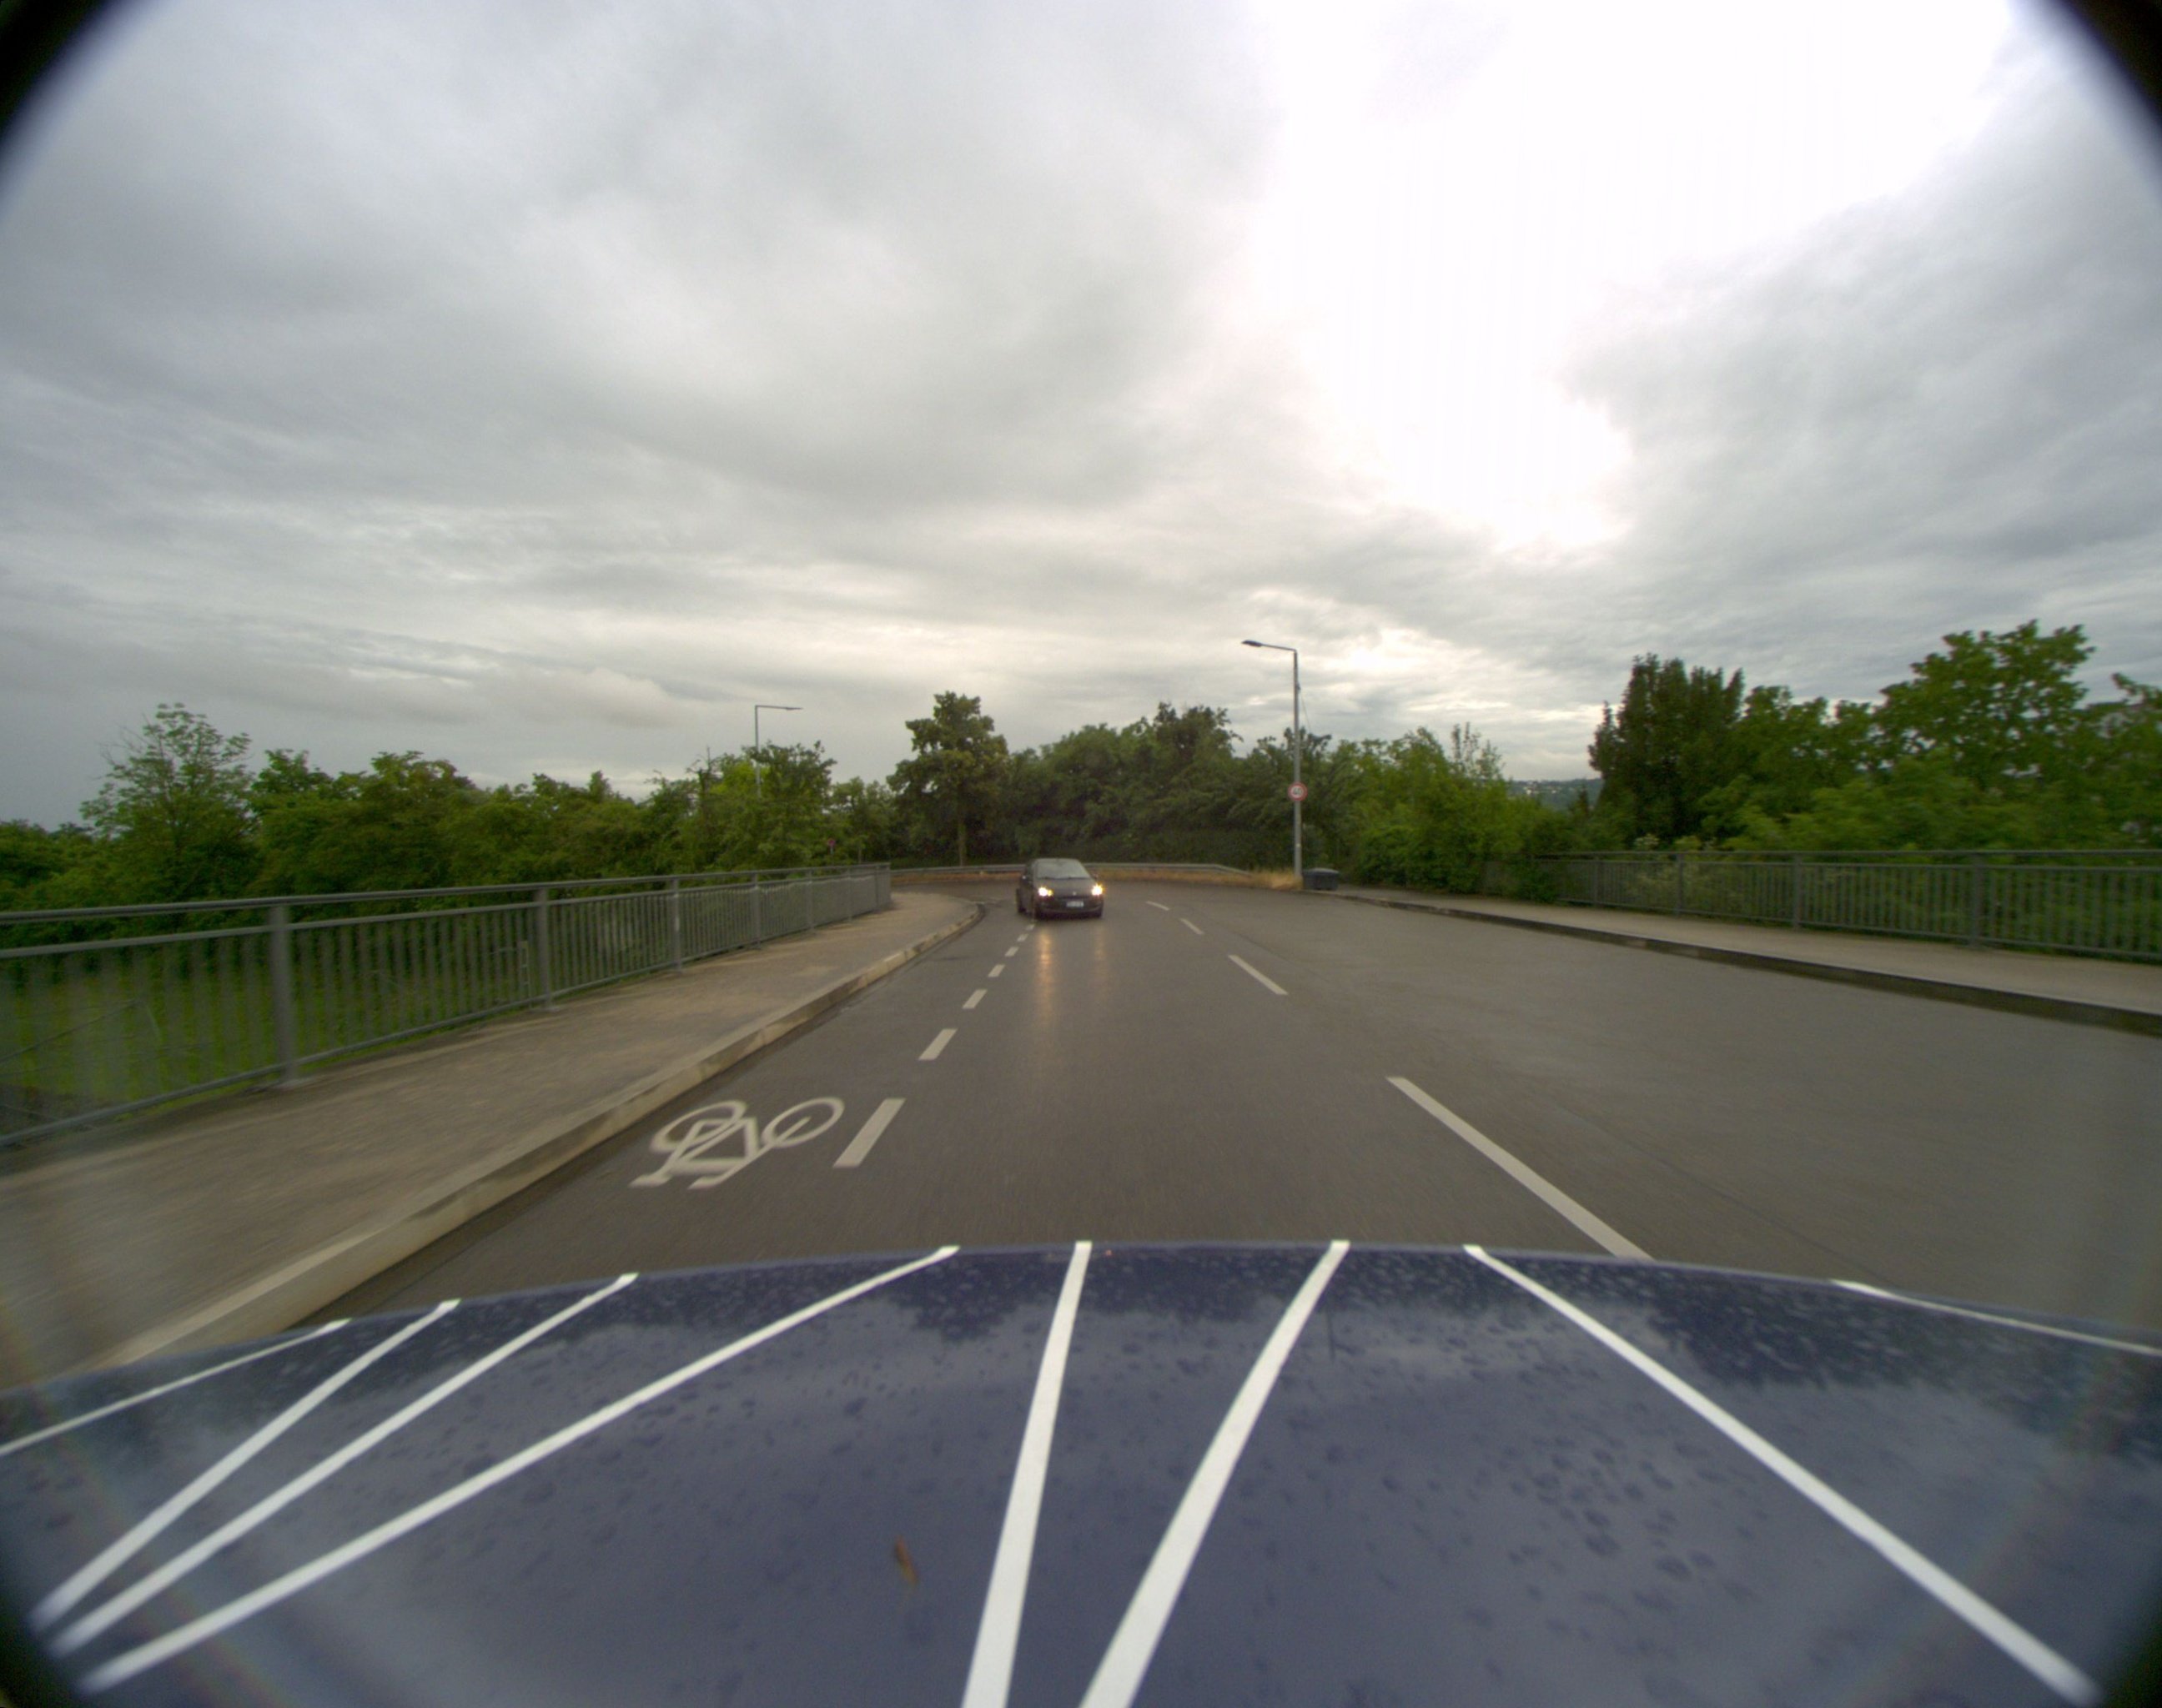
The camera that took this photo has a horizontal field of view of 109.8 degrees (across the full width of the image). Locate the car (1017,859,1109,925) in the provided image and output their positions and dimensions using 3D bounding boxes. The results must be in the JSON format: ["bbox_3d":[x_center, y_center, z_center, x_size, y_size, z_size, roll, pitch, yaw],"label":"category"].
[{"bbox_3d":[-0.549,0.881,19.249,1.682,1.405,3.633,-3,1,-11],"label":"car"}]
